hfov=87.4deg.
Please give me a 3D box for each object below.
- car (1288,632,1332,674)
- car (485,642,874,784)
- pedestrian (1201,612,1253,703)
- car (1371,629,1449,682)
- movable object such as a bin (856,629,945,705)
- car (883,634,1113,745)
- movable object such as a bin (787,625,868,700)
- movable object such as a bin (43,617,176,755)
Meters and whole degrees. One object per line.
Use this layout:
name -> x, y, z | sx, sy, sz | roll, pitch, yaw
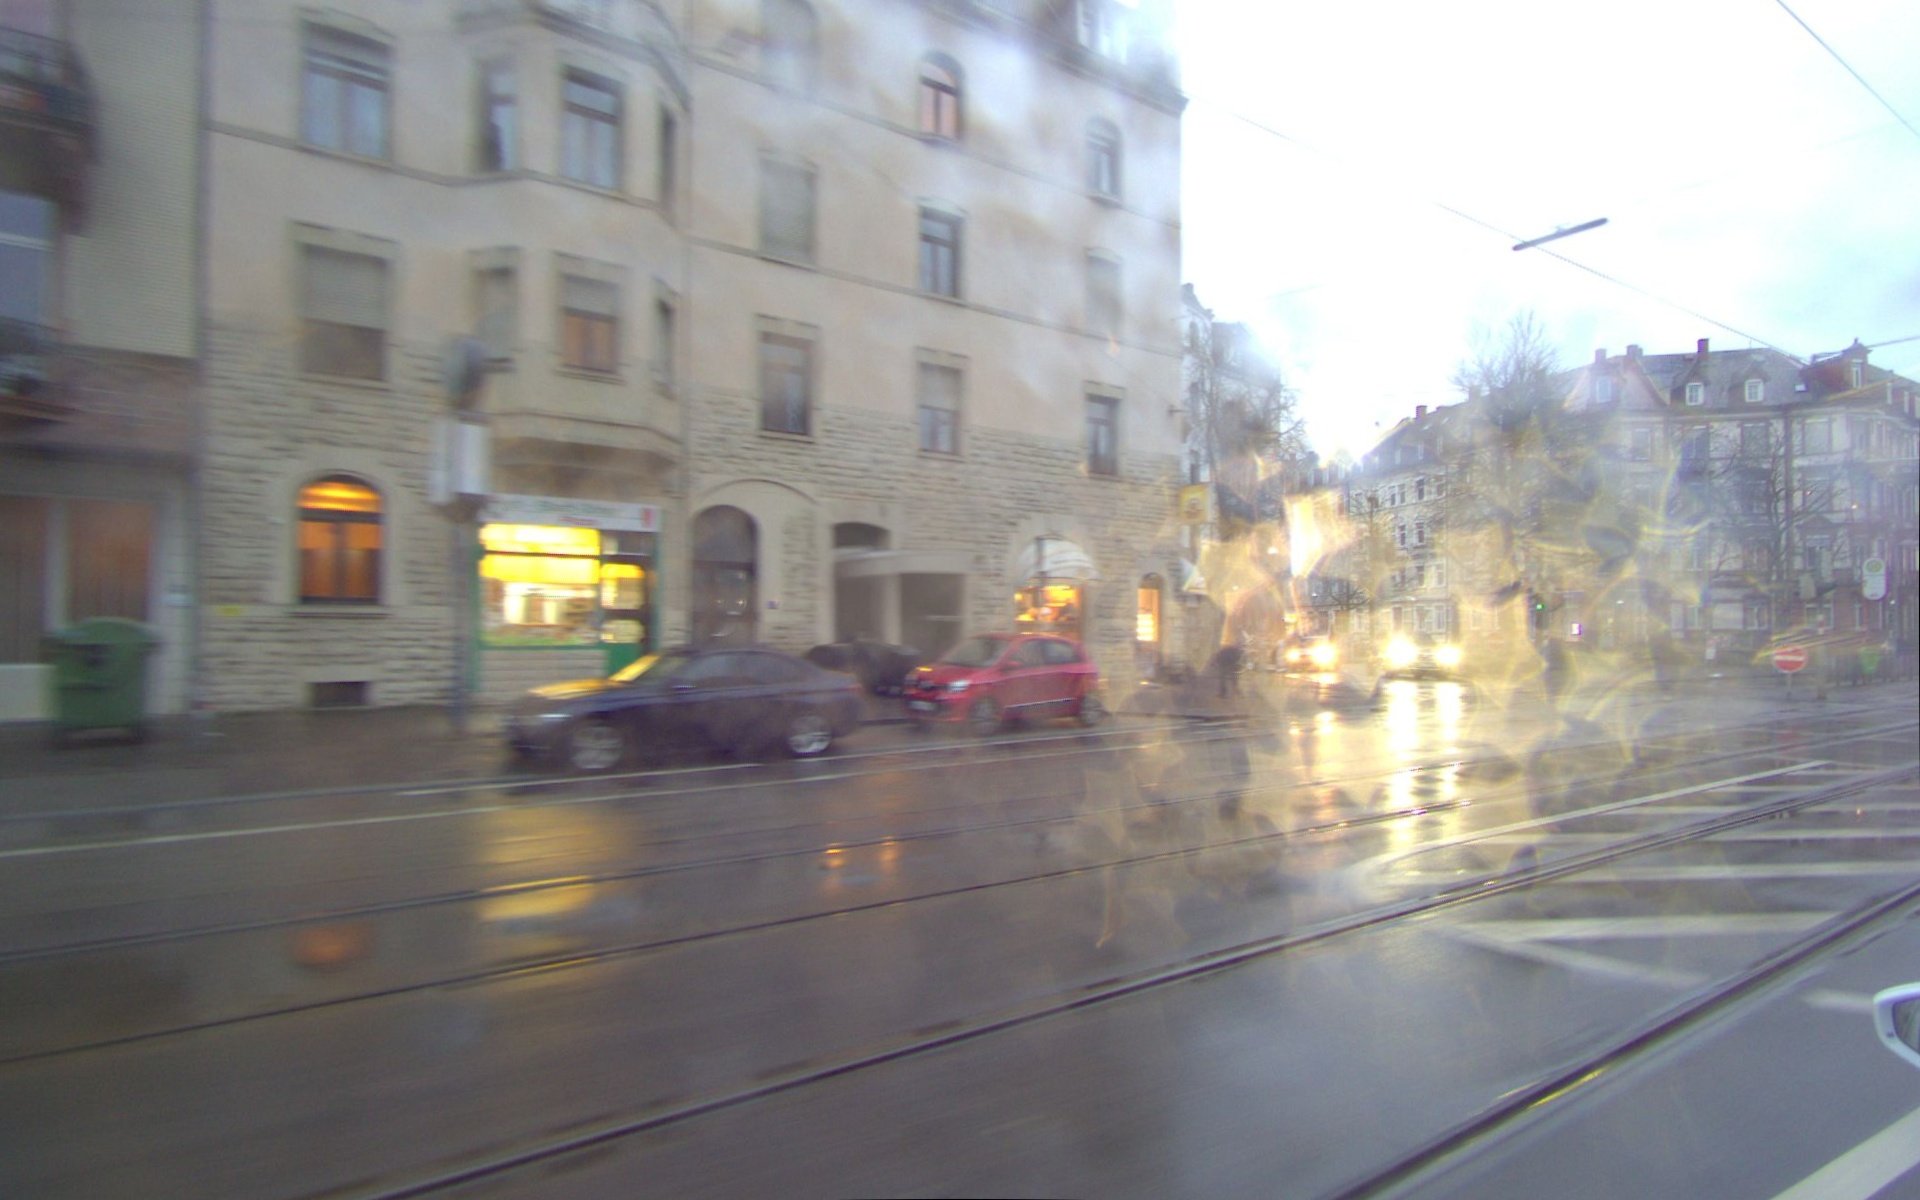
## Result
car -> 14.818, 2.190, 42.393 | 1.582, 1.492, 3.825 | 2, 1, 21
car -> -3.480, 1.300, 12.918 | 4.469, 1.409, 1.788 | 2, 1, -38
pedestrian -> 5.857, 1.241, 22.061 | 0.877, 1.903, 0.798 | 2, 1, 1
car -> 15.810, 1.890, 35.479 | 1.898, 1.604, 4.345 | 2, 0, 17
movable object such as a bin -> -1.213, 1.324, 20.346 | 1.269, 1.390, 1.340 | 1, 1, -36
car -> 0.695, 1.382, 16.621 | 3.650, 1.536, 1.657 | 2, 1, -41
movable object such as a bin -> -2.643, 1.230, 20.057 | 1.262, 1.390, 0.994 | 1, 1, -36
movable object such as a bin -> -9.930, 0.960, 11.793 | 1.064, 1.450, 1.228 | 1, 1, -36
